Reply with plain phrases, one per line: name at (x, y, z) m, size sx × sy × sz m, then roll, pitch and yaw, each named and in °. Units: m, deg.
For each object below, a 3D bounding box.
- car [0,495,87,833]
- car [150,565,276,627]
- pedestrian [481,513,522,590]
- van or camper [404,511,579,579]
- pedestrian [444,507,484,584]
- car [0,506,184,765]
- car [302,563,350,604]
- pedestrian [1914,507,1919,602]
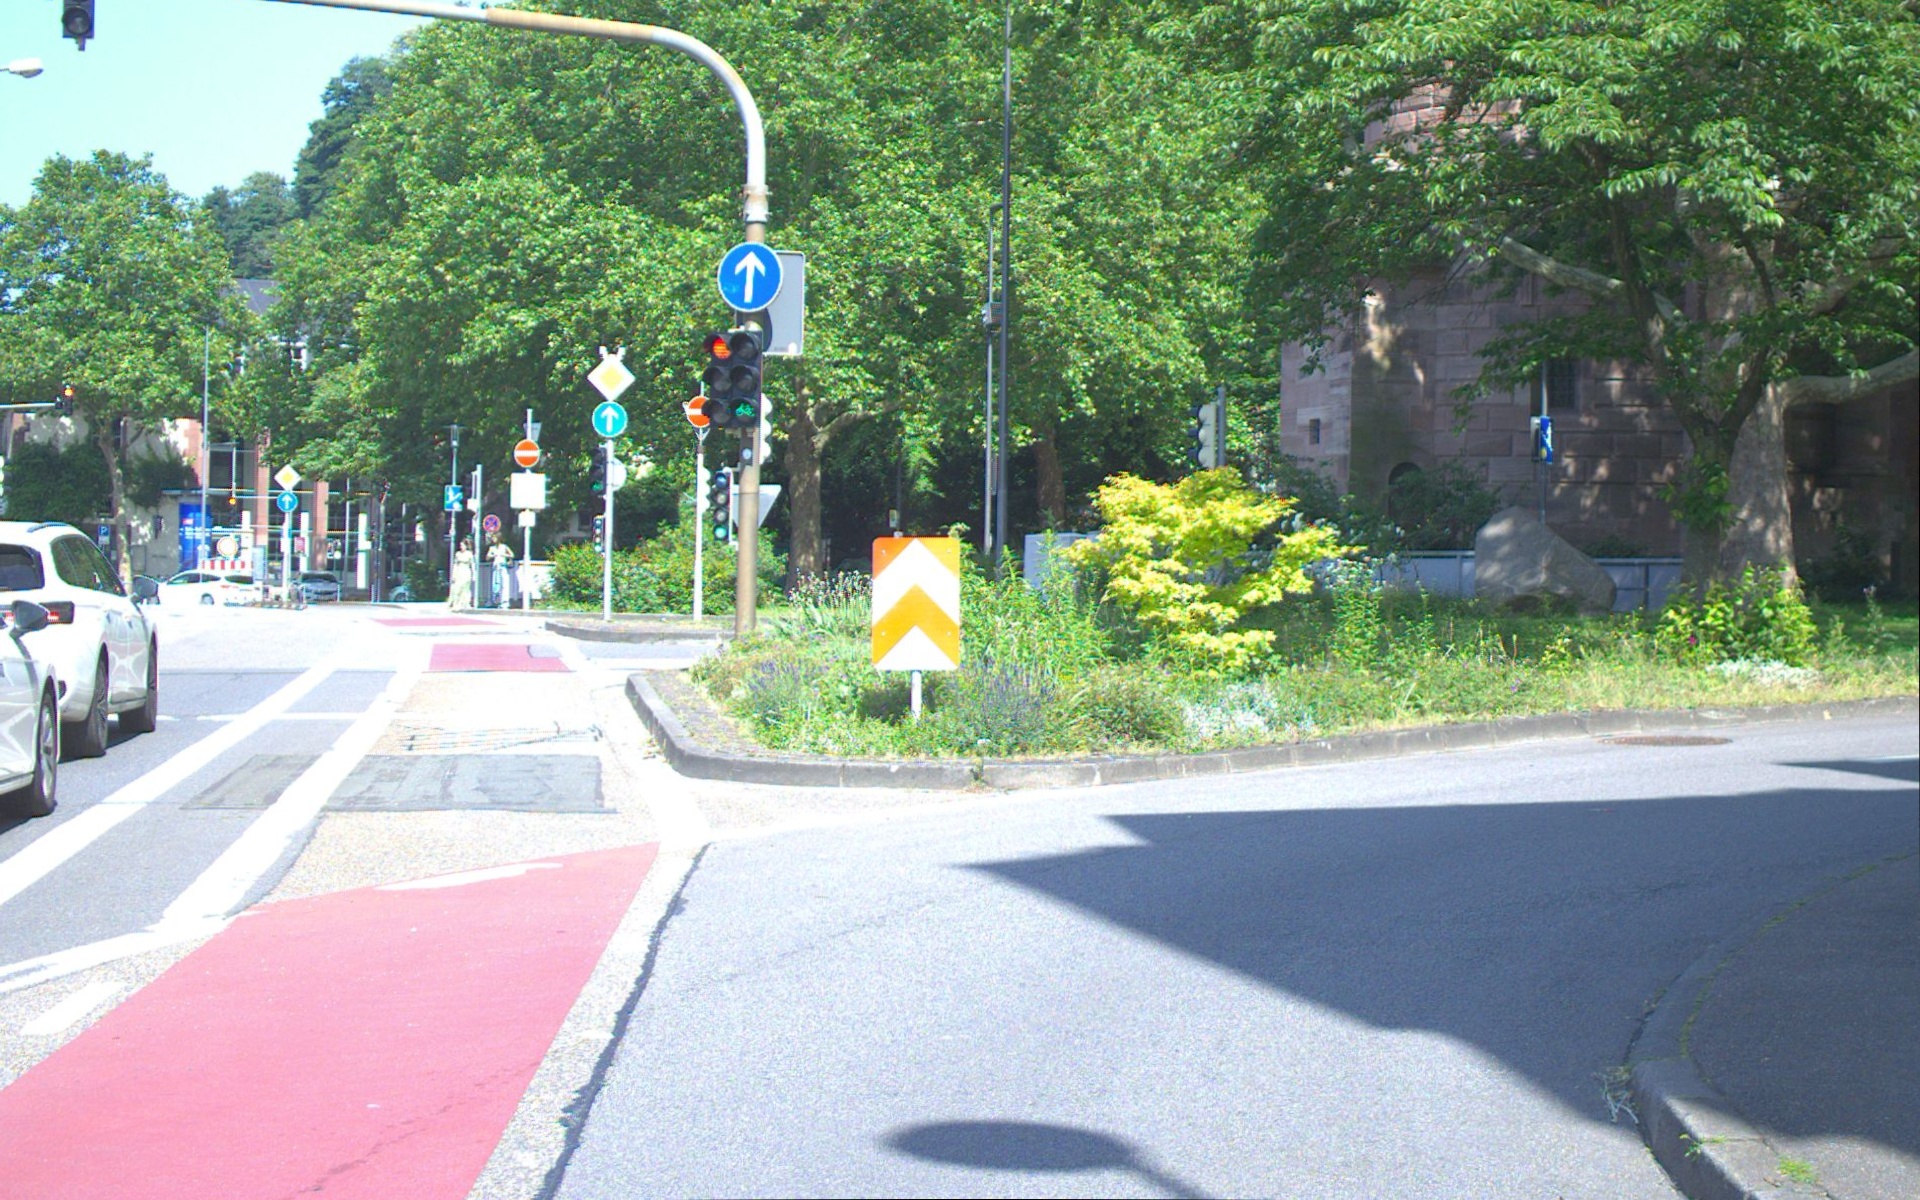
car at (-5.348, 0.300, 15.483) m, size 1.993 × 1.528 × 4.860 m, roll 0°, pitch 2°, yaw -5°
car at (-25.310, -0.149, 116.469) m, size 3.994 × 2.007 × 1.939 m, roll 1°, pitch 2°, yaw 33°
pedestrian at (-10.231, -1.087, 76.743) m, size 0.761 × 1.702 × 0.878 m, roll 0°, pitch 1°, yaw 2°
van or camper at (-13.440, -1.585, 98.667) m, size 4.544 × 1.895 × 1.999 m, roll 0°, pitch 2°, yaw 12°
pedestrian at (-11.088, -1.219, 76.871) m, size 0.761 × 1.713 × 0.795 m, roll 0°, pitch 1°, yaw 2°
car at (-6.311, 0.164, 22.655) m, size 1.785 × 1.527 × 4.738 m, roll -1°, pitch 1°, yaw -6°
car at (-25.009, -0.661, 135.543) m, size 1.730 × 1.509 × 3.623 m, roll -1°, pitch 2°, yaw -12°
pedestrian at (18.424, -0.847, 64.328) m, size 0.792 × 1.775 × 0.876 m, roll -1°, pitch 1°, yaw -11°
